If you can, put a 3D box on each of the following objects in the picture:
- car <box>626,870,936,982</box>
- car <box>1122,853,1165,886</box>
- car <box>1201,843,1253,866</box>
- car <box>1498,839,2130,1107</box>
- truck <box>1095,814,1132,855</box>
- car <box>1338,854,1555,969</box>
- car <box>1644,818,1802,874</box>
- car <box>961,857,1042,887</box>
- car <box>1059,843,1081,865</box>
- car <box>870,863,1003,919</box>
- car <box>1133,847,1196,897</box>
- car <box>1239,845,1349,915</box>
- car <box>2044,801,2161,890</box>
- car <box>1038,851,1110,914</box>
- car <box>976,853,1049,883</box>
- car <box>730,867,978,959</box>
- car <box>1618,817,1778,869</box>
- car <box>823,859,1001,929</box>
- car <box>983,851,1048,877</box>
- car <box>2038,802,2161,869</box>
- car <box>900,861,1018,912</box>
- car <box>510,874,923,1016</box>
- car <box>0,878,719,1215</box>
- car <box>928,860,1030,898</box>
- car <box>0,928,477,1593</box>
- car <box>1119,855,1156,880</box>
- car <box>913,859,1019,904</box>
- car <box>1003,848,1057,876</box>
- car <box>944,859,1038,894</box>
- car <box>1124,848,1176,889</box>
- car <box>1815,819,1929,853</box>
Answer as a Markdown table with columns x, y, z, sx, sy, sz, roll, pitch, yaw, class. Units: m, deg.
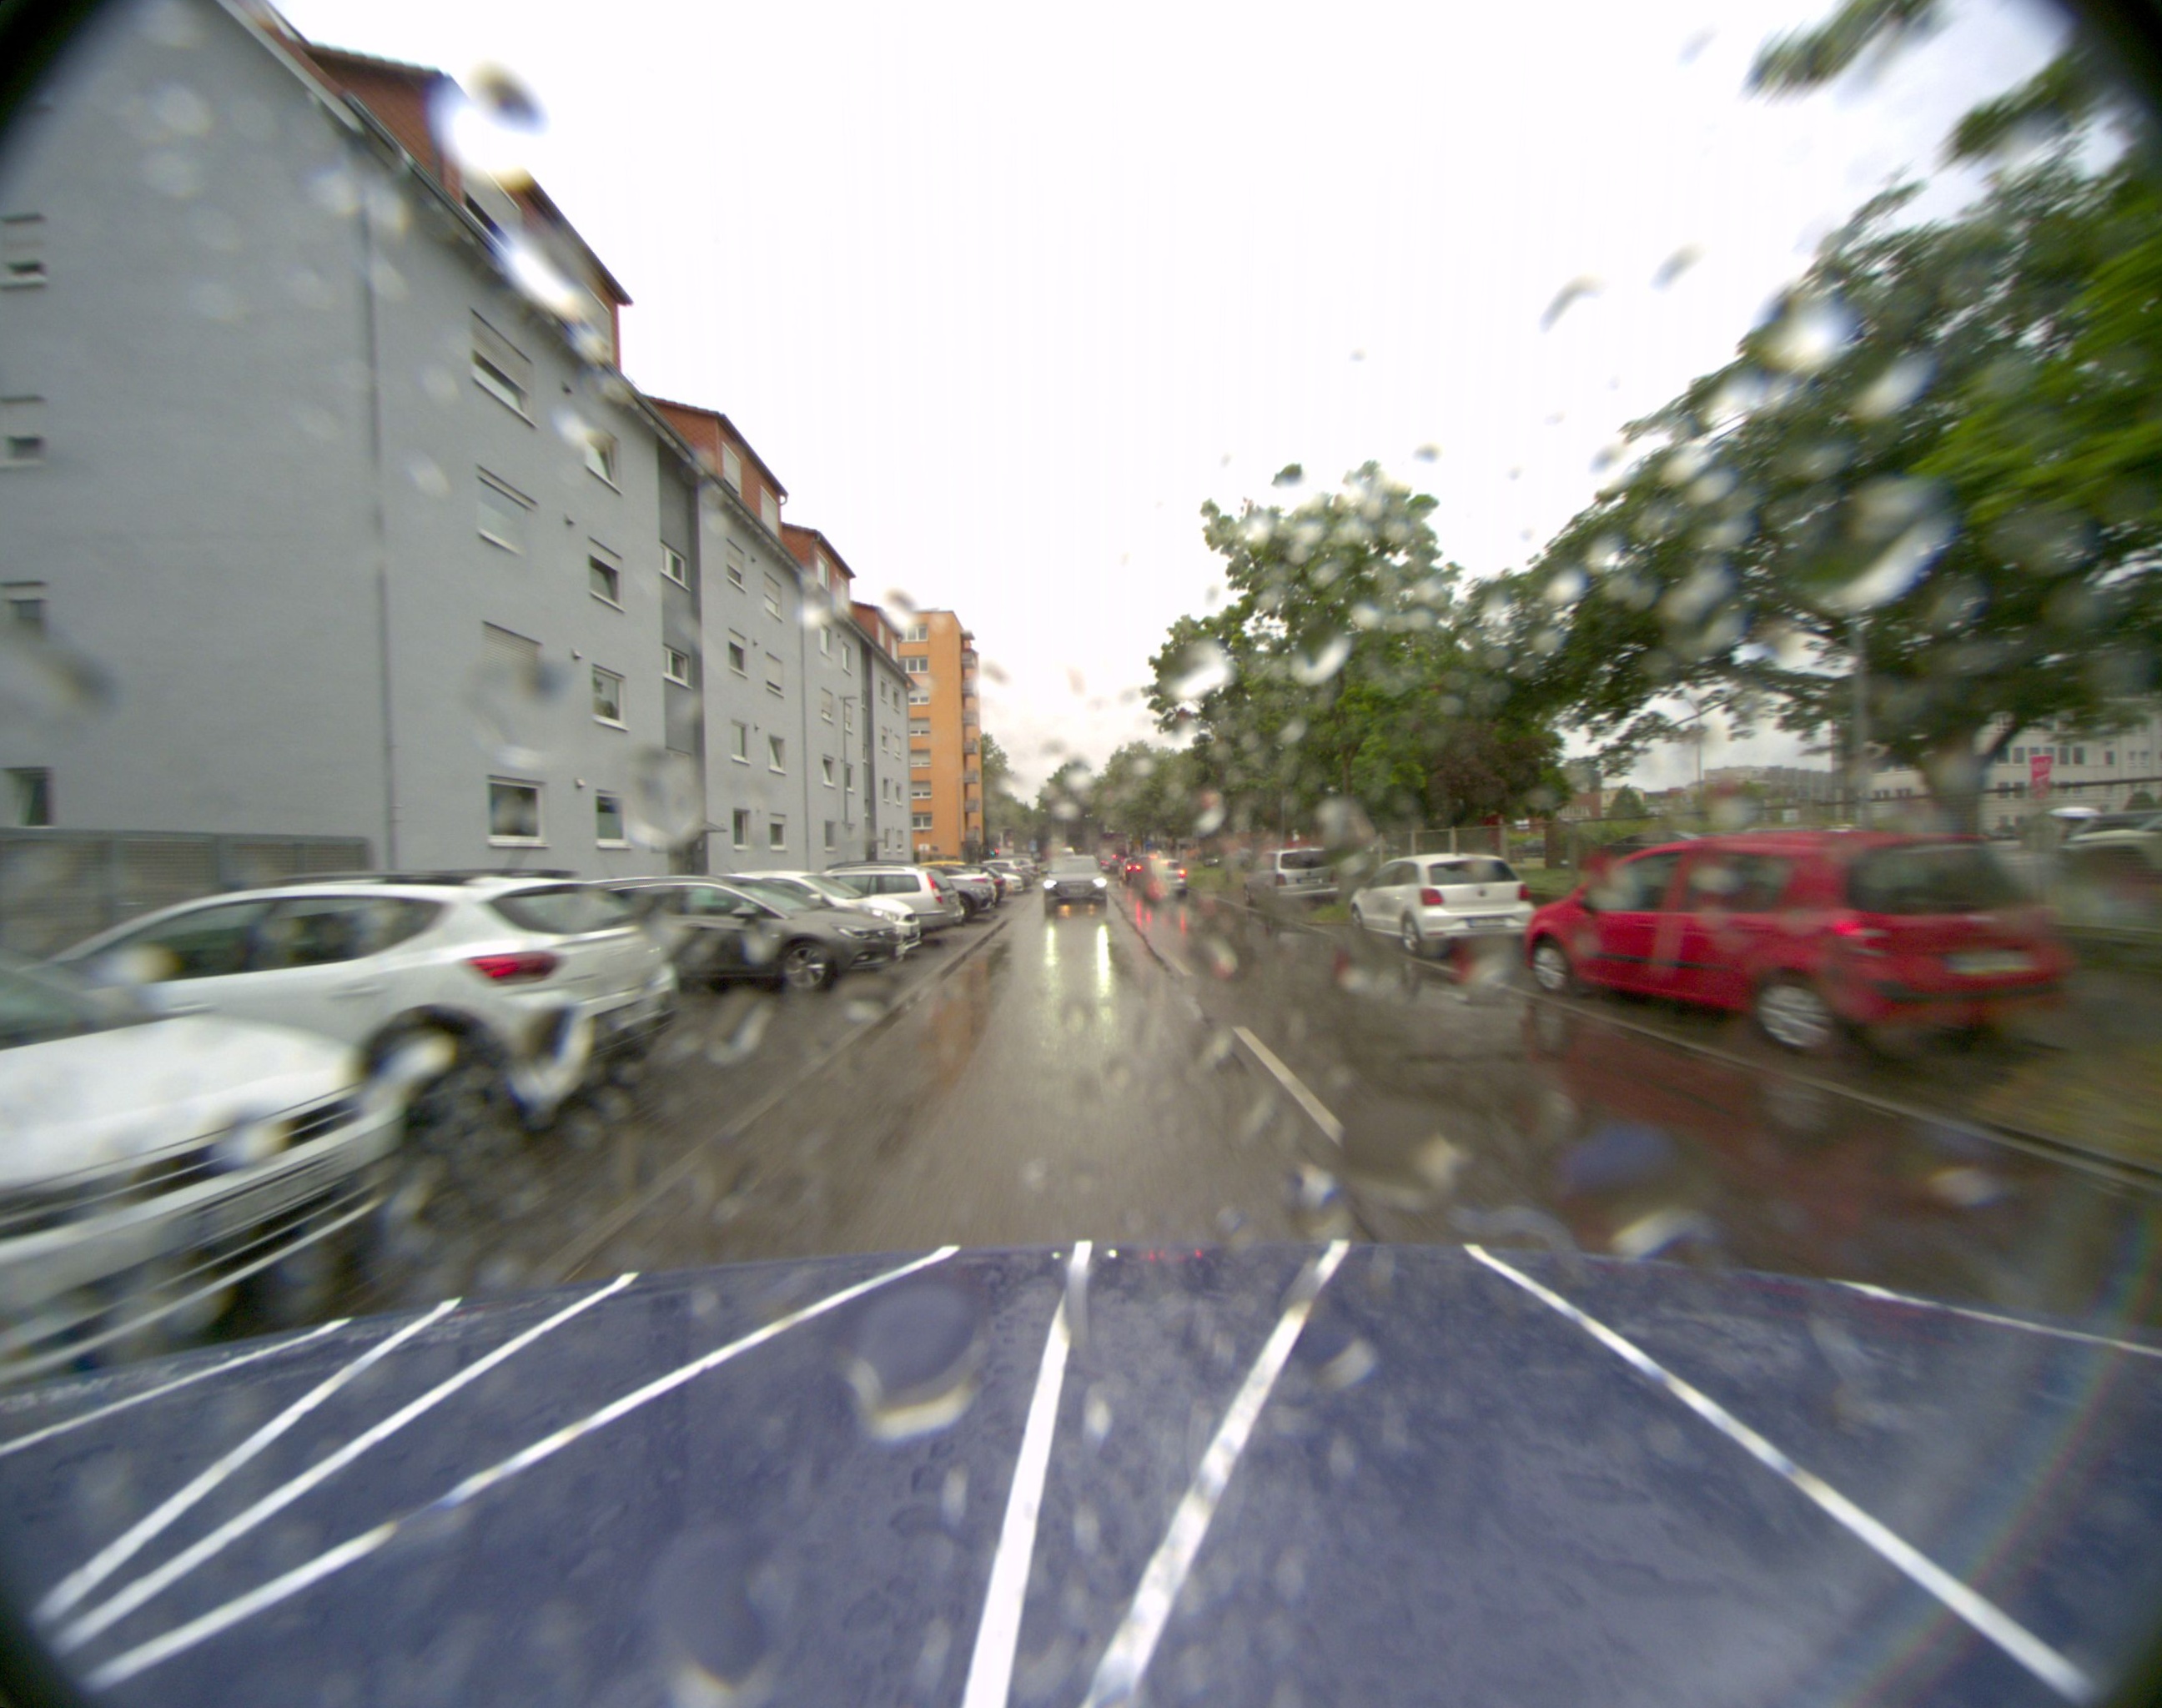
| x | y | z | sx | sy | sz | roll | pitch | yaw | class |
| --- | --- | --- | --- | --- | --- | --- | --- | --- | --- |
| -4.664 | 1.095 | 12.276 | 4.171 | 1.468 | 1.920 | -2 | 1 | 1 | car |
| 3.447 | 0.832 | 42.690 | 2.071 | 1.663 | 4.174 | -2 | 1 | 1 | car |
| 12.351 | 0.067 | 64.187 | 4.007 | 1.751 | 1.995 | -3 | 1 | -35 | car |
| 5.640 | 0.715 | 6.616 | 1.629 | 1.589 | 3.796 | -2 | 1 | -6 | car |
| 3.599 | -2.162 | 87.977 | 3.833 | 4.360 | 10.784 | -2 | 1 | 1 | truck |
| 5.530 | 0.767 | 12.046 | 1.694 | 1.445 | 3.718 | -2 | 1 | 2 | car |
| 23.386 | -0.260 | 27.815 | 2.003 | 1.871 | 3.990 | -3 | 1 | -32 | car |
| -4.267 | 0.954 | 41.170 | 4.171 | 1.445 | 1.650 | -2 | 1 | 1 | car |
| -1.184 | -0.035 | 83.650 | 2.194 | 2.242 | 4.884 | -2 | 1 | 1 | car |
| -4.272 | 1.088 | 22.789 | 3.618 | 1.479 | 1.541 | -2 | 1 | 1 | car |
| 3.193 | 0.655 | 29.880 | 2.070 | 1.732 | 4.174 | -2 | 1 | 2 | car |
| 5.691 | 0.619 | 20.823 | 1.882 | 1.672 | 4.037 | -2 | 1 | 1 | car |
| 21.252 | -0.205 | 14.093 | 2.070 | 1.660 | 3.990 | -3 | 1 | -32 | car |
| -0.164 | 0.794 | 23.514 | 1.961 | 1.702 | 4.174 | -2 | 1 | 1 | car |
| -4.125 | 0.835 | 46.028 | 4.171 | 1.596 | 1.650 | -2 | 1 | 1 | car |
| -4.219 | 1.081 | 14.552 | 4.171 | 1.468 | 1.650 | -2 | 1 | 1 | car |
| 21.546 | -0.346 | 26.698 | 1.774 | 1.660 | 3.990 | -3 | 1 | -32 | car |
| -4.280 | 0.995 | 19.653 | 4.171 | 1.561 | 1.650 | -2 | 1 | 1 | car |
| -4.401 | 0.670 | 51.333 | 4.171 | 1.596 | 1.650 | -2 | 1 | 1 | car |
| 27.549 | -0.495 | 19.177 | 2.070 | 1.660 | 3.990 | -3 | 1 | -32 | car |
| -4.038 | 1.064 | 25.466 | 3.618 | 1.479 | 1.541 | -2 | 1 | 1 | car |
| -4.547 | 1.113 | 10.034 | 4.388 | 1.468 | 2.050 | -2 | 1 | 1 | car |
| -4.699 | 1.059 | 4.820 | 3.923 | 1.605 | 1.692 | -2 | 1 | 1 | car |
| -4.416 | 1.057 | 33.283 | 4.171 | 1.445 | 1.650 | -2 | 1 | 1 | car |
| -4.607 | 1.134 | 2.366 | 3.923 | 1.472 | 1.857 | -2 | 1 | 1 | car |
| 3.566 | 0.842 | 48.703 | 2.071 | 1.436 | 4.174 | -2 | 1 | 1 | car |
| -4.197 | 0.989 | 28.126 | 3.618 | 1.479 | 1.541 | -2 | 1 | 1 | car |
| -3.987 | 0.637 | 59.987 | 3.996 | 2.002 | 2.000 | -2 | 1 | 2 | car |
| -4.218 | 1.028 | 35.971 | 4.171 | 1.445 | 1.650 | -2 | 1 | 1 | car |
| 3.166 | 0.620 | 35.794 | 2.071 | 1.732 | 4.174 | -2 | 1 | 1 | car |
| 42.634 | -0.947 | 41.048 | 1.774 | 1.660 | 3.990 | -3 | 1 | -32 | car |
